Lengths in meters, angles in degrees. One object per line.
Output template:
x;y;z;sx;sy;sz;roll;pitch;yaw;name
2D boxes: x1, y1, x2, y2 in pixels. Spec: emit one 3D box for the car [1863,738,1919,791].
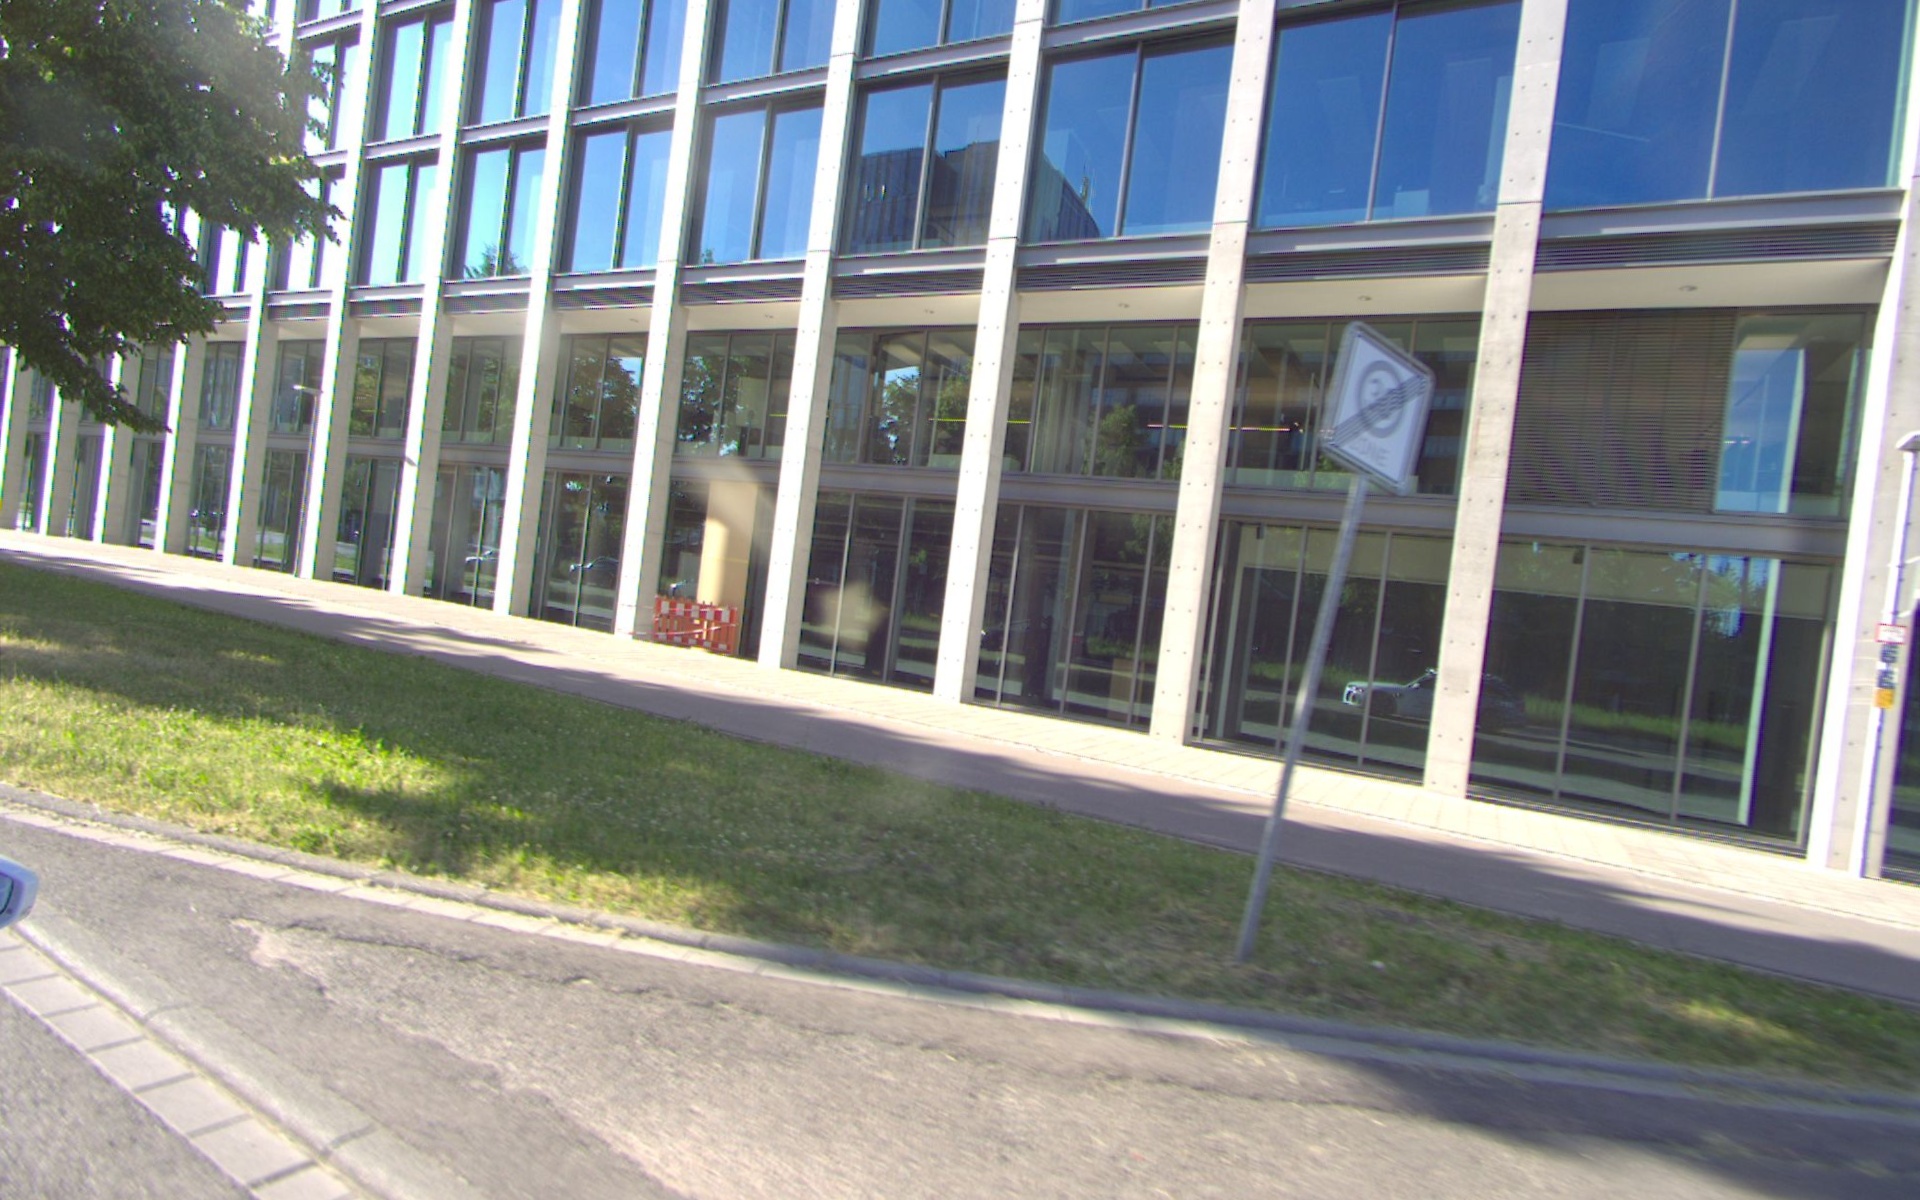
35.477;6.182;37.599;1.720;1.680;3.840;6;-1;31;car
